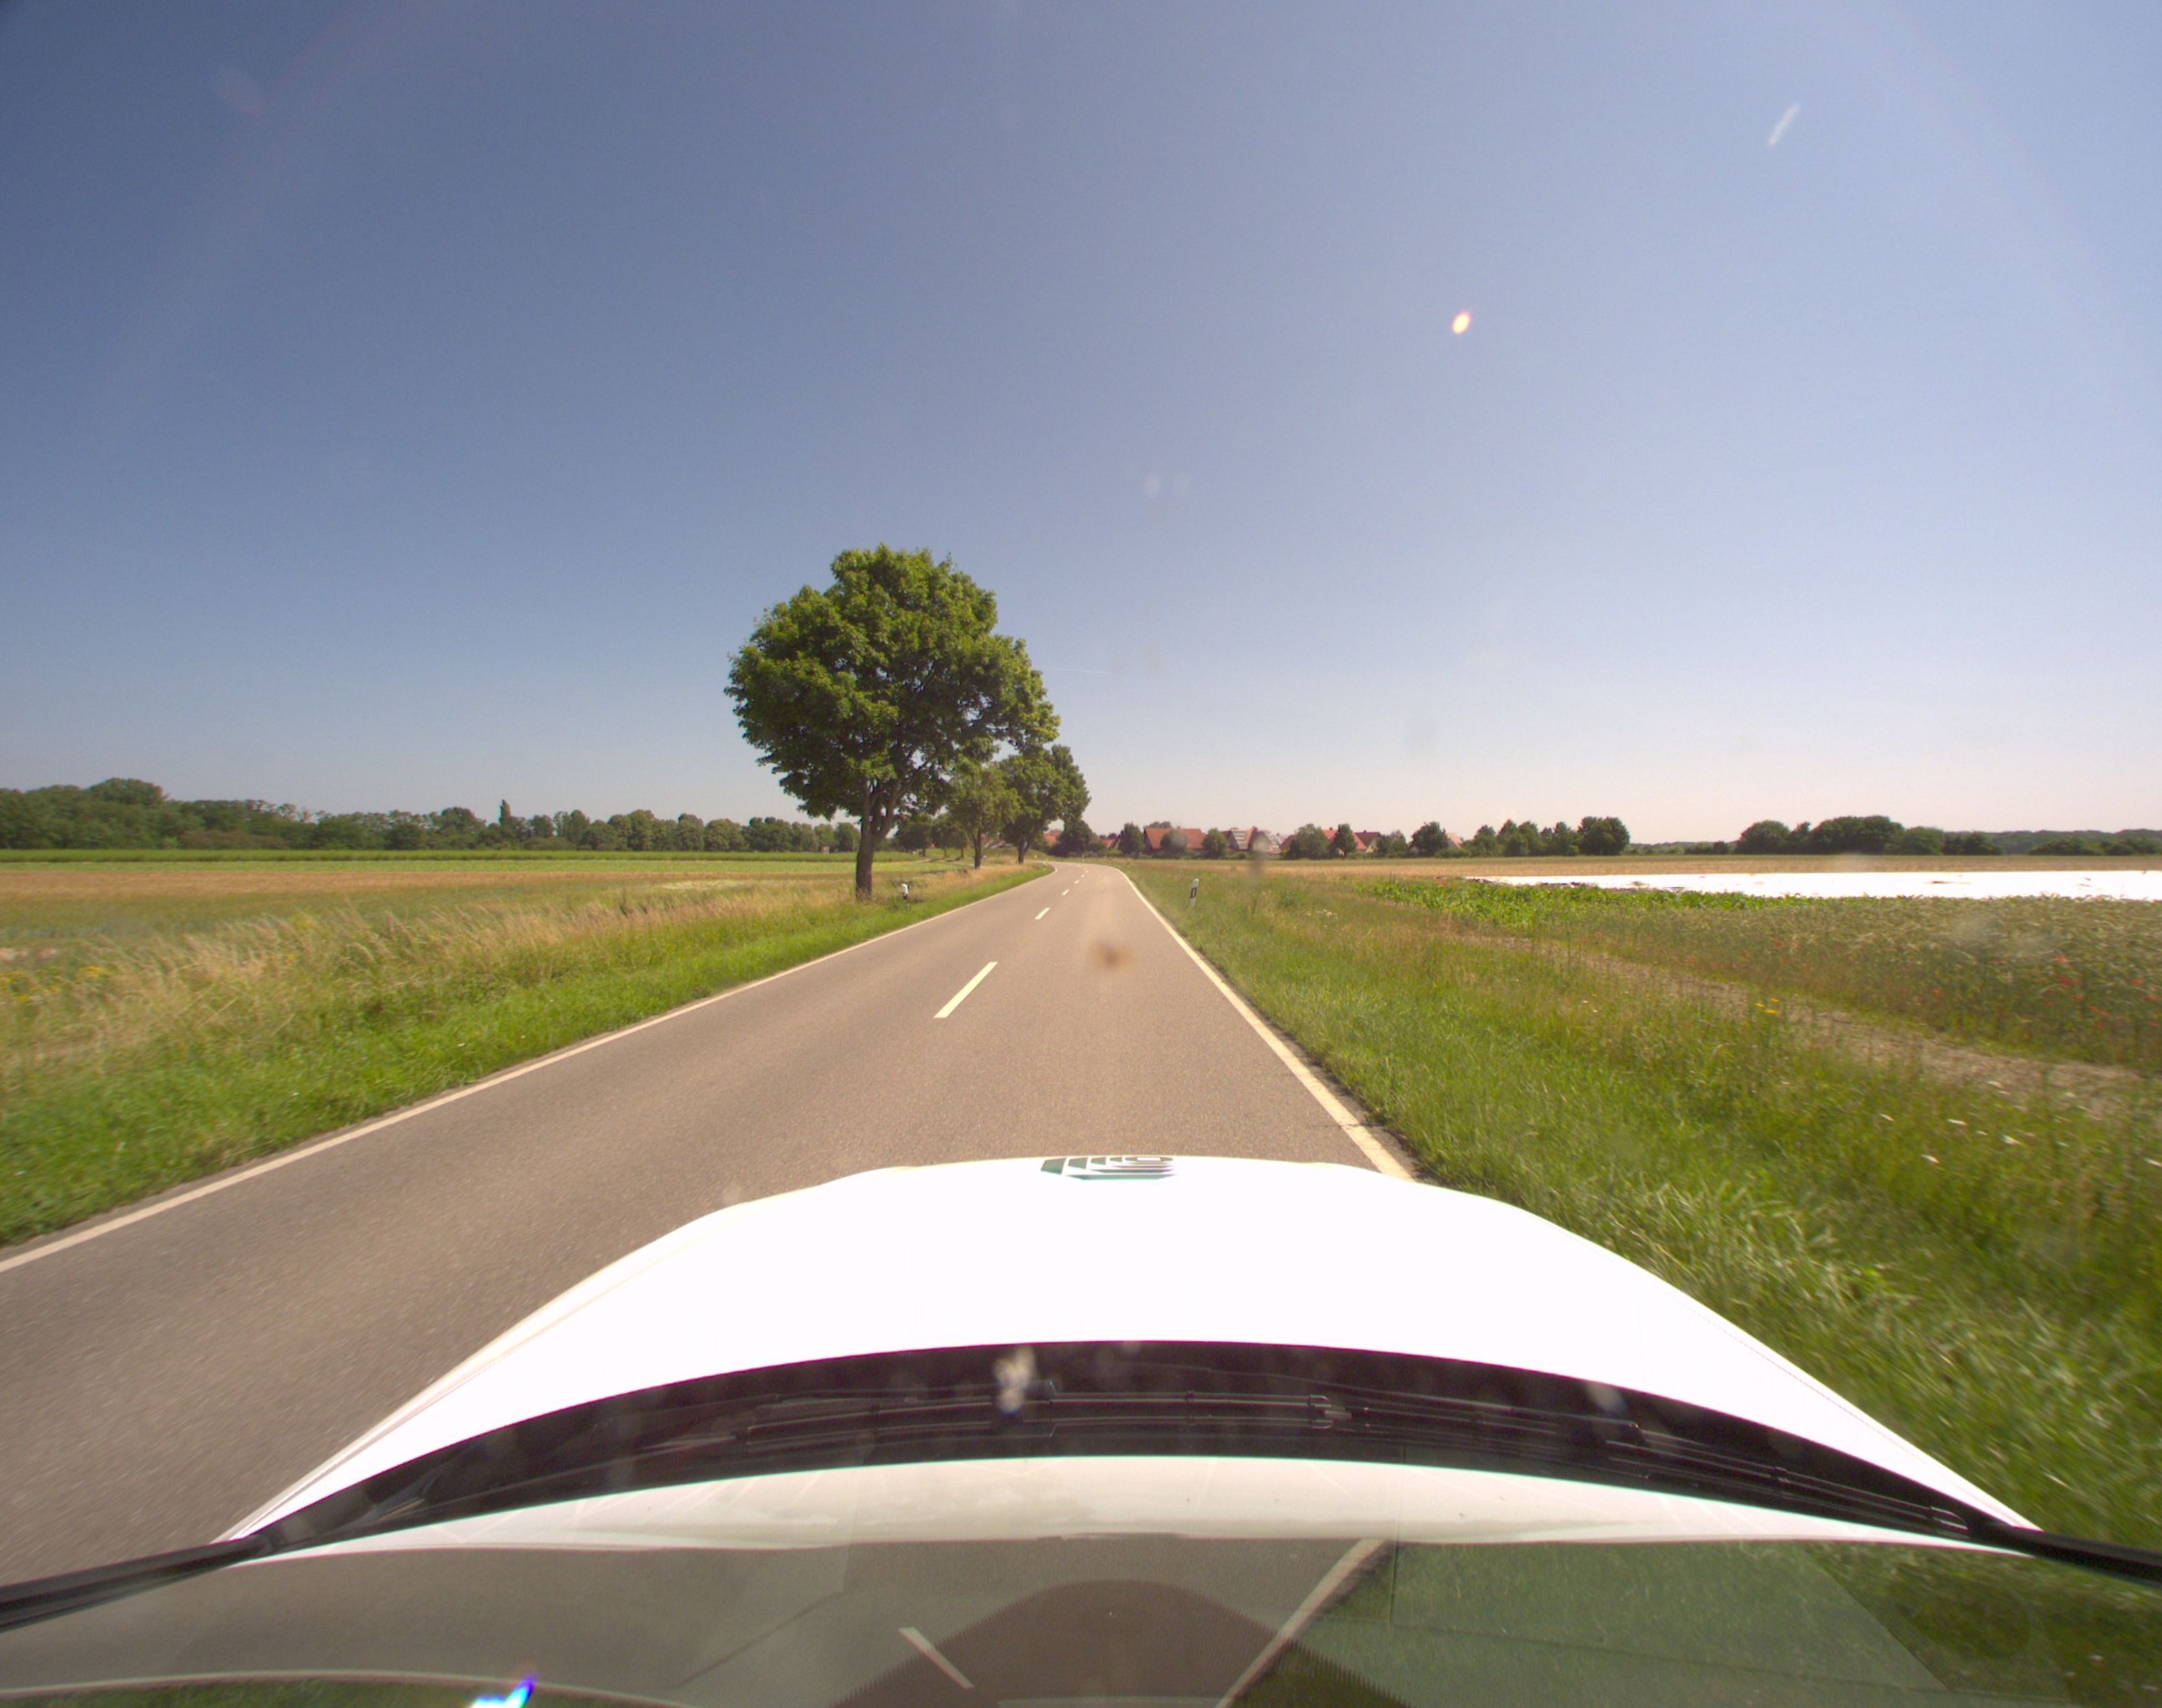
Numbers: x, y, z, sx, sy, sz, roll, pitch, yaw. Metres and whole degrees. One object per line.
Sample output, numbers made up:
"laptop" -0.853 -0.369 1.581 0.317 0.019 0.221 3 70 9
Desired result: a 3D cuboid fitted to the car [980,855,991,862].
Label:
"car" -21.254 1.004 180.839 1.648 1.429 4.154 -3 0 -18
